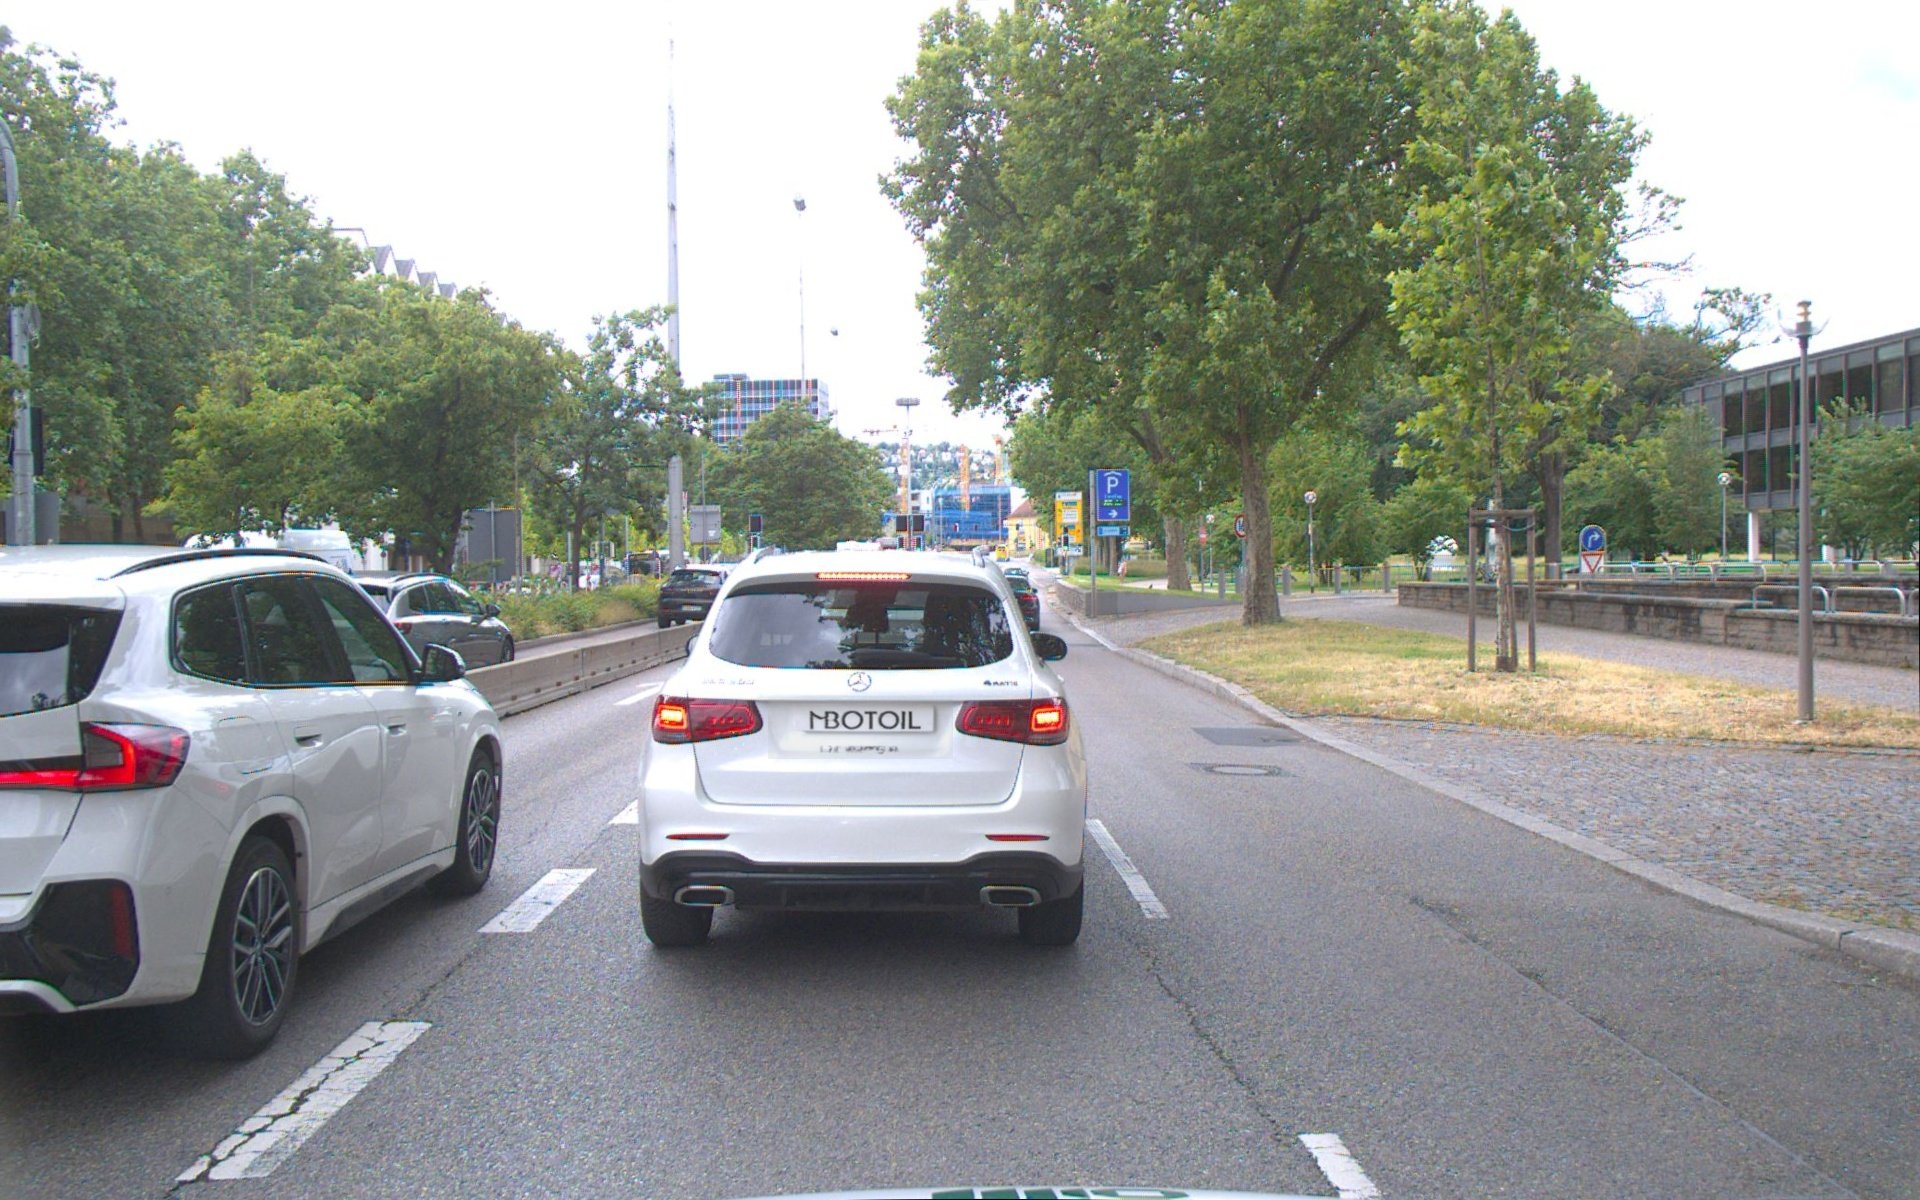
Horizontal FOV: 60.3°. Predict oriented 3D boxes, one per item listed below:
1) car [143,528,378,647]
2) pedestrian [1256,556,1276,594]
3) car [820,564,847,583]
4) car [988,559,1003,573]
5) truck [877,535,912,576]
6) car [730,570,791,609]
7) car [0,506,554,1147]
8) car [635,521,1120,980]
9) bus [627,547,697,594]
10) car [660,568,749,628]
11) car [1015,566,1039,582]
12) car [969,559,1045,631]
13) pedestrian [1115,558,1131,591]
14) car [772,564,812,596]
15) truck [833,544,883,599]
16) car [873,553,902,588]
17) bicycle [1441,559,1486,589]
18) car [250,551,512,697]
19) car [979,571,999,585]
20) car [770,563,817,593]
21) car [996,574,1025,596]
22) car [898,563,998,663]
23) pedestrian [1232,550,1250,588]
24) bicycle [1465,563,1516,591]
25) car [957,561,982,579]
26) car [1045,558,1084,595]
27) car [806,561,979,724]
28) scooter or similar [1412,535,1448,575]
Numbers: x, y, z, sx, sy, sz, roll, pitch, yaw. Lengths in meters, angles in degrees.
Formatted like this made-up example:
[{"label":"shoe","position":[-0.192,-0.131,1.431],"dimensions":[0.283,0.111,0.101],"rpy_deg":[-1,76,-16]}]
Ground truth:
[{"label":"car","position":[-12.975,-0.262,31.143],"dimensions":[2.072,2.003,5.578],"rpy_deg":[-1,1,-1]},{"label":"pedestrian","position":[13.064,-1.069,70.606],"dimensions":[0.626,1.639,0.662],"rpy_deg":[0,1,30]},{"label":"car","position":[-8.779,-1.831,114.812],"dimensions":[1.625,1.342,3.547],"rpy_deg":[0,1,0]},{"label":"car","position":[4.271,-4.103,200.723],"dimensions":[1.722,1.698,4.168],"rpy_deg":[-1,1,-1]},{"label":"truck","position":[-5.174,-3.454,130.536],"dimensions":[2.637,3.044,5.636],"rpy_deg":[1,0,-2]},{"label":"car","position":[-7.185,-0.389,59.852],"dimensions":[1.624,1.342,3.548],"rpy_deg":[0,1,2]},{"label":"car","position":[-3.117,0.567,6.711],"dimensions":[1.814,1.656,4.906],"rpy_deg":[0,0,-1]},{"label":"car","position":[-0.353,0.527,8.205],"dimensions":[1.752,1.653,4.436],"rpy_deg":[0,0,-2]},{"label":"bus","position":[-22.234,-2.237,124.206],"dimensions":[3.595,3.261,14.263],"rpy_deg":[-1,1,-4]},{"label":"car","position":[-6.644,-0.086,43.365],"dimensions":[1.740,1.445,4.000],"rpy_deg":[-1,1,-1]},{"label":"car","position":[5.484,-2.137,135.761],"dimensions":[1.907,1.342,4.017],"rpy_deg":[0,1,0]},{"label":"car","position":[1.210,-0.167,44.016],"dimensions":[1.788,1.783,3.999],"rpy_deg":[-1,1,-1]},{"label":"pedestrian","position":[10.365,-1.624,105.210],"dimensions":[0.746,2.049,0.696],"rpy_deg":[0,1,35]},{"label":"car","position":[-8.392,-0.997,82.705],"dimensions":[1.625,1.539,3.547],"rpy_deg":[-1,1,0]},{"label":"truck","position":[-5.658,-1.602,92.655],"dimensions":[2.568,2.911,7.077],"rpy_deg":[0,1,-2]},{"label":"car","position":[-5.391,-2.195,123.339],"dimensions":[1.953,2.518,4.000],"rpy_deg":[-1,1,0]},{"label":"bicycle","position":[18.750,-0.970,61.647],"dimensions":[0.934,1.082,2.335],"rpy_deg":[1,0,-1]},{"label":"car","position":[-6.335,0.223,18.544],"dimensions":[1.628,1.461,3.959],"rpy_deg":[0,0,-1]},{"label":"car","position":[2.834,-2.118,162.058],"dimensions":[1.907,1.342,4.017],"rpy_deg":[0,1,0]},{"label":"car","position":[-7.451,-0.986,74.207],"dimensions":[1.624,1.342,3.548],"rpy_deg":[0,1,2]},{"label":"car","position":[3.414,-1.047,112.917],"dimensions":[1.907,1.453,4.017],"rpy_deg":[0,1,0]},{"label":"car","position":[-0.266,0.199,29.625],"dimensions":[1.626,1.668,3.545],"rpy_deg":[0,1,-3]},{"label":"pedestrian","position":[13.054,-1.424,76.804],"dimensions":[0.743,1.755,0.699],"rpy_deg":[-1,1,7]},{"label":"bicycle","position":[19.803,-0.854,61.780],"dimensions":[0.934,0.992,2.786],"rpy_deg":[1,0,-1]},{"label":"car","position":[0.727,-2.292,125.846],"dimensions":[1.907,1.342,4.017],"rpy_deg":[0,1,0]},{"label":"car","position":[5.885,-1.329,93.725],"dimensions":[1.952,2.049,4.000],"rpy_deg":[0,1,0]},{"label":"car","position":[-0.850,0.408,18.609],"dimensions":[1.761,1.636,3.751],"rpy_deg":[0,1,-5]},{"label":"scooter or similar","position":[15.631,-1.479,55.056],"dimensions":[0.622,1.267,2.226],"rpy_deg":[1,0,2]}]
